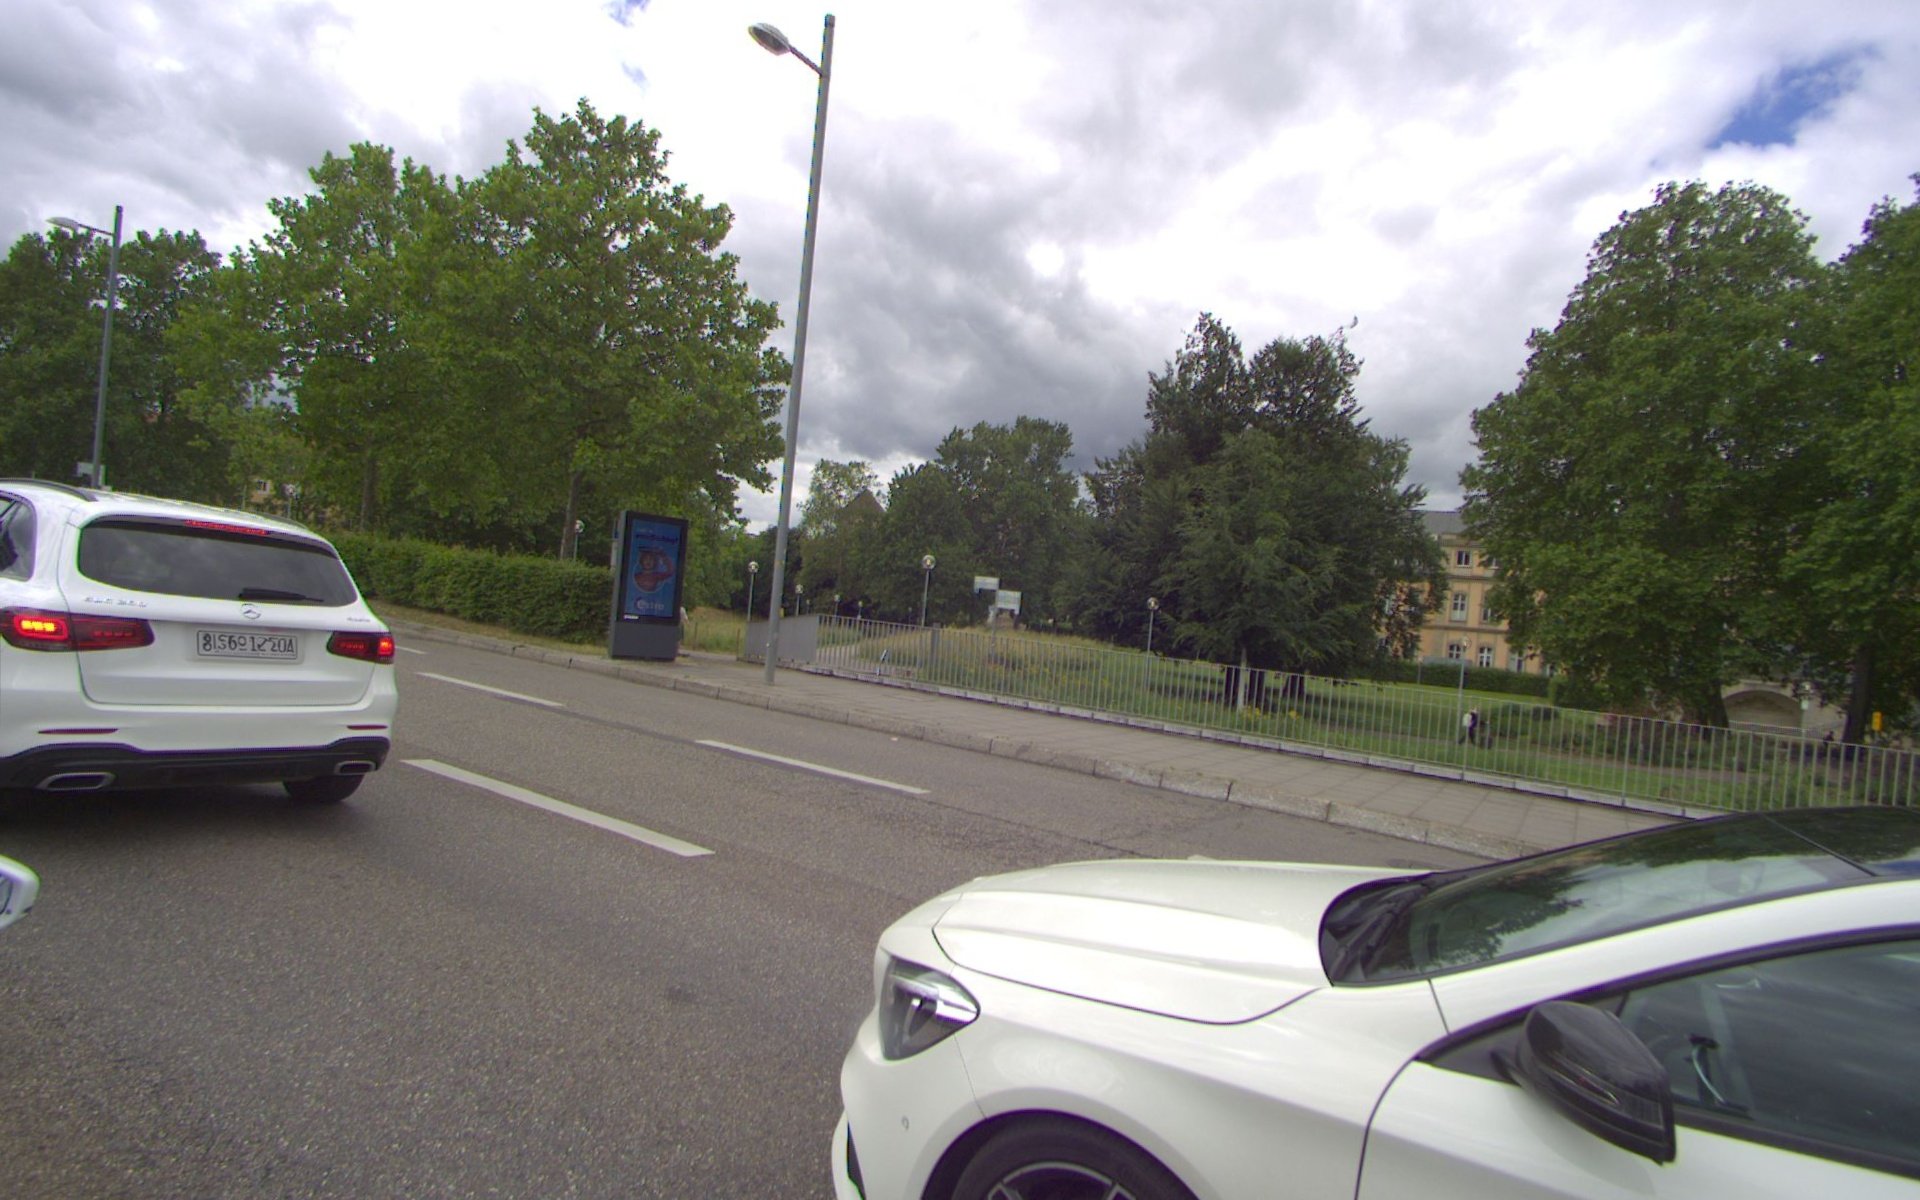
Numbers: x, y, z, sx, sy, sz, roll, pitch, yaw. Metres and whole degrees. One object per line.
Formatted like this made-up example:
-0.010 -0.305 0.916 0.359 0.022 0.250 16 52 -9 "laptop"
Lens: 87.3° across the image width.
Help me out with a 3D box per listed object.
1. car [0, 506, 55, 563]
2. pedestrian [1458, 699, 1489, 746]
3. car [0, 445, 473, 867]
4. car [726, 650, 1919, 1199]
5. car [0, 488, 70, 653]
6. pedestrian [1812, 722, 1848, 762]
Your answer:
-29.108 -2.071 30.207 4.459 1.476 1.933 5 -3 37 "car"
19.092 4.538 37.387 0.645 1.619 0.684 6 -2 0 "pedestrian"
-5.134 0.103 5.951 4.417 1.673 1.929 7 -1 33 "car"
1.854 1.081 1.820 4.454 1.436 1.796 5 -2 33 "car"
-11.363 -0.517 10.475 4.417 1.569 1.929 6 -2 33 "car"
49.088 8.005 56.782 0.929 2.036 1.103 7 -2 -16 "pedestrian"
